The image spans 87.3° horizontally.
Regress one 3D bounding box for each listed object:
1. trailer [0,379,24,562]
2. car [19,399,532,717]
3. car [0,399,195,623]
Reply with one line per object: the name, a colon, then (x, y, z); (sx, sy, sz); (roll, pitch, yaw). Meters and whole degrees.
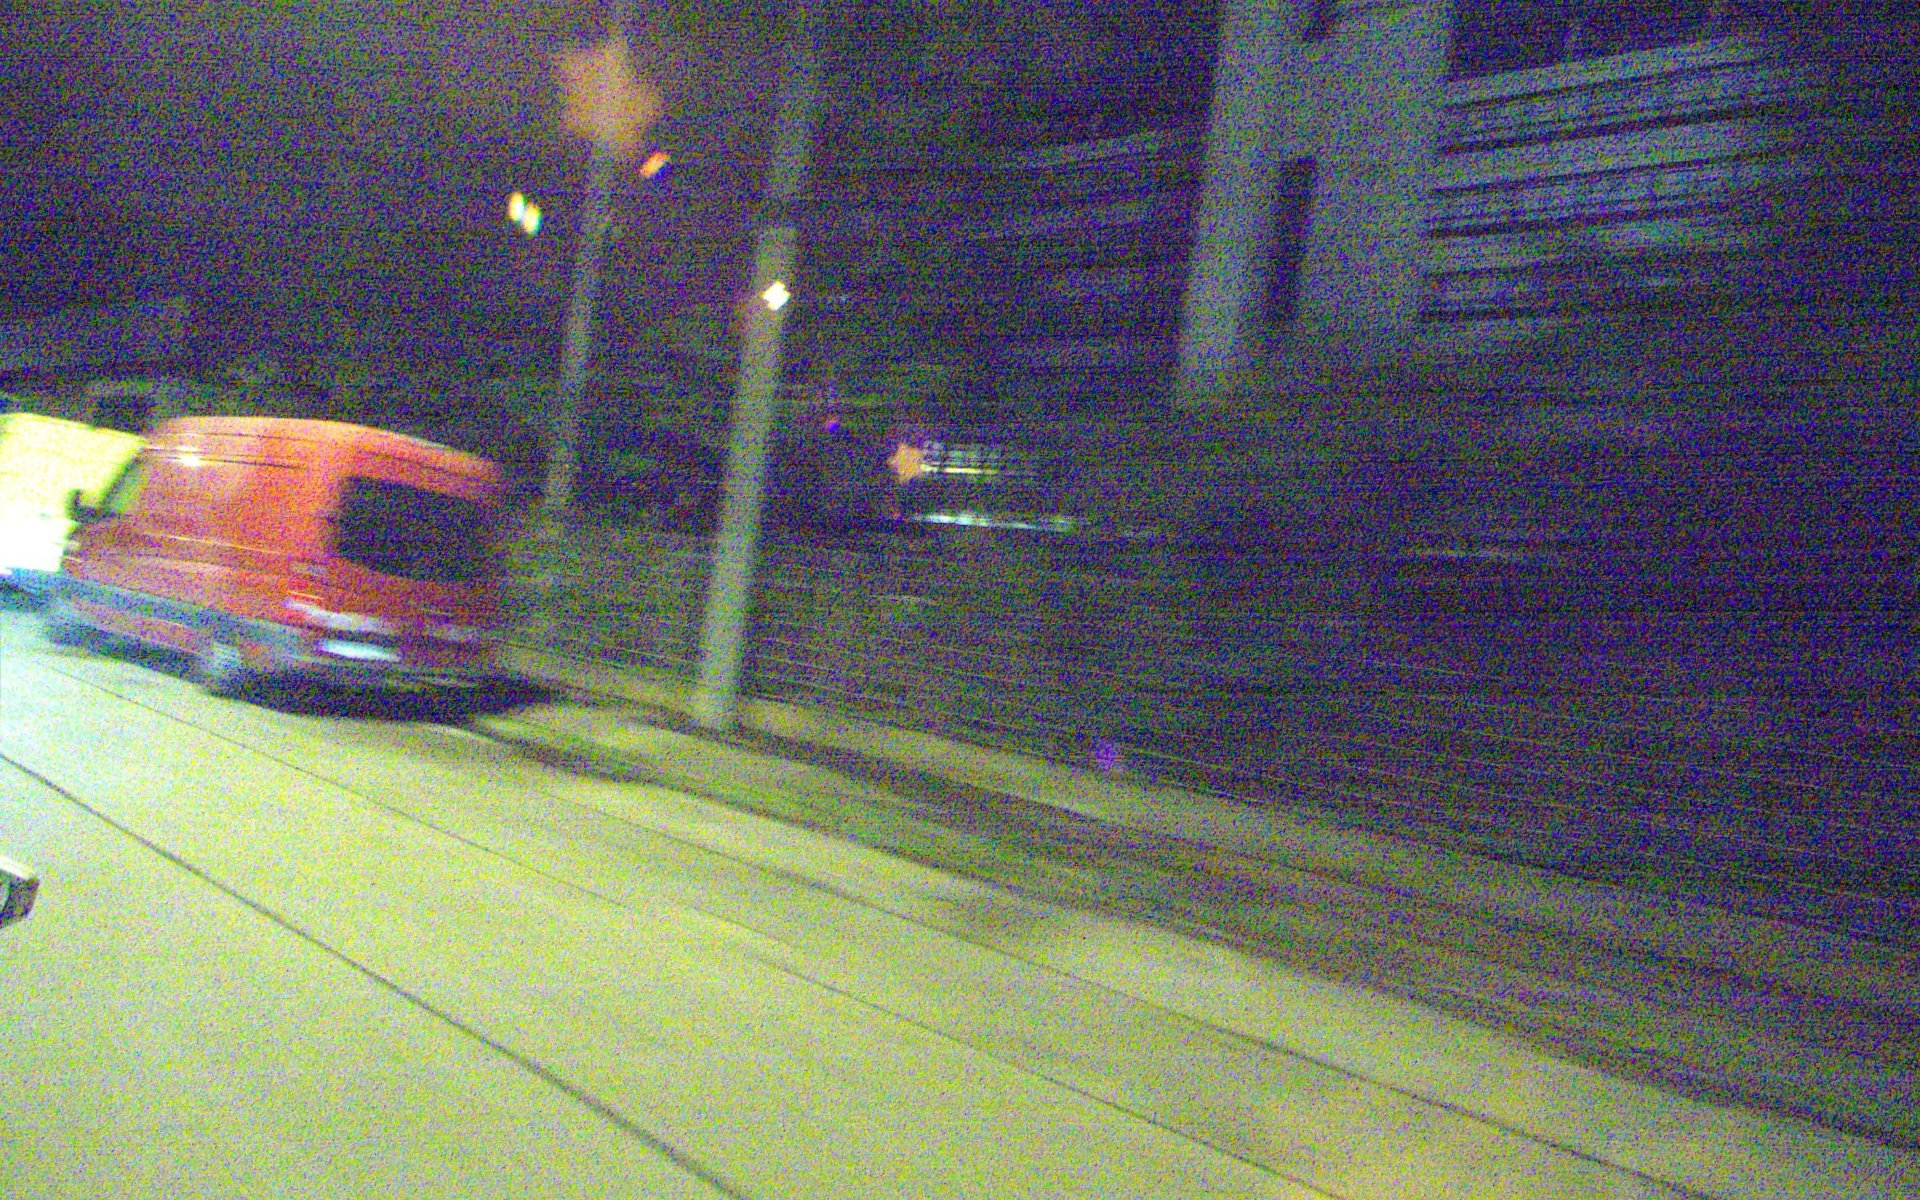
trailer: (-19.864, -2.661, 18.554); (4.288, 3.365, 2.403); (8, -1, 30)
car: (-7.443, -0.553, 10.690); (5.924, 2.578, 1.997); (8, -1, 31)
car: (-13.915, -1.423, 14.824); (6.538, 2.578, 1.943); (8, -1, 33)
